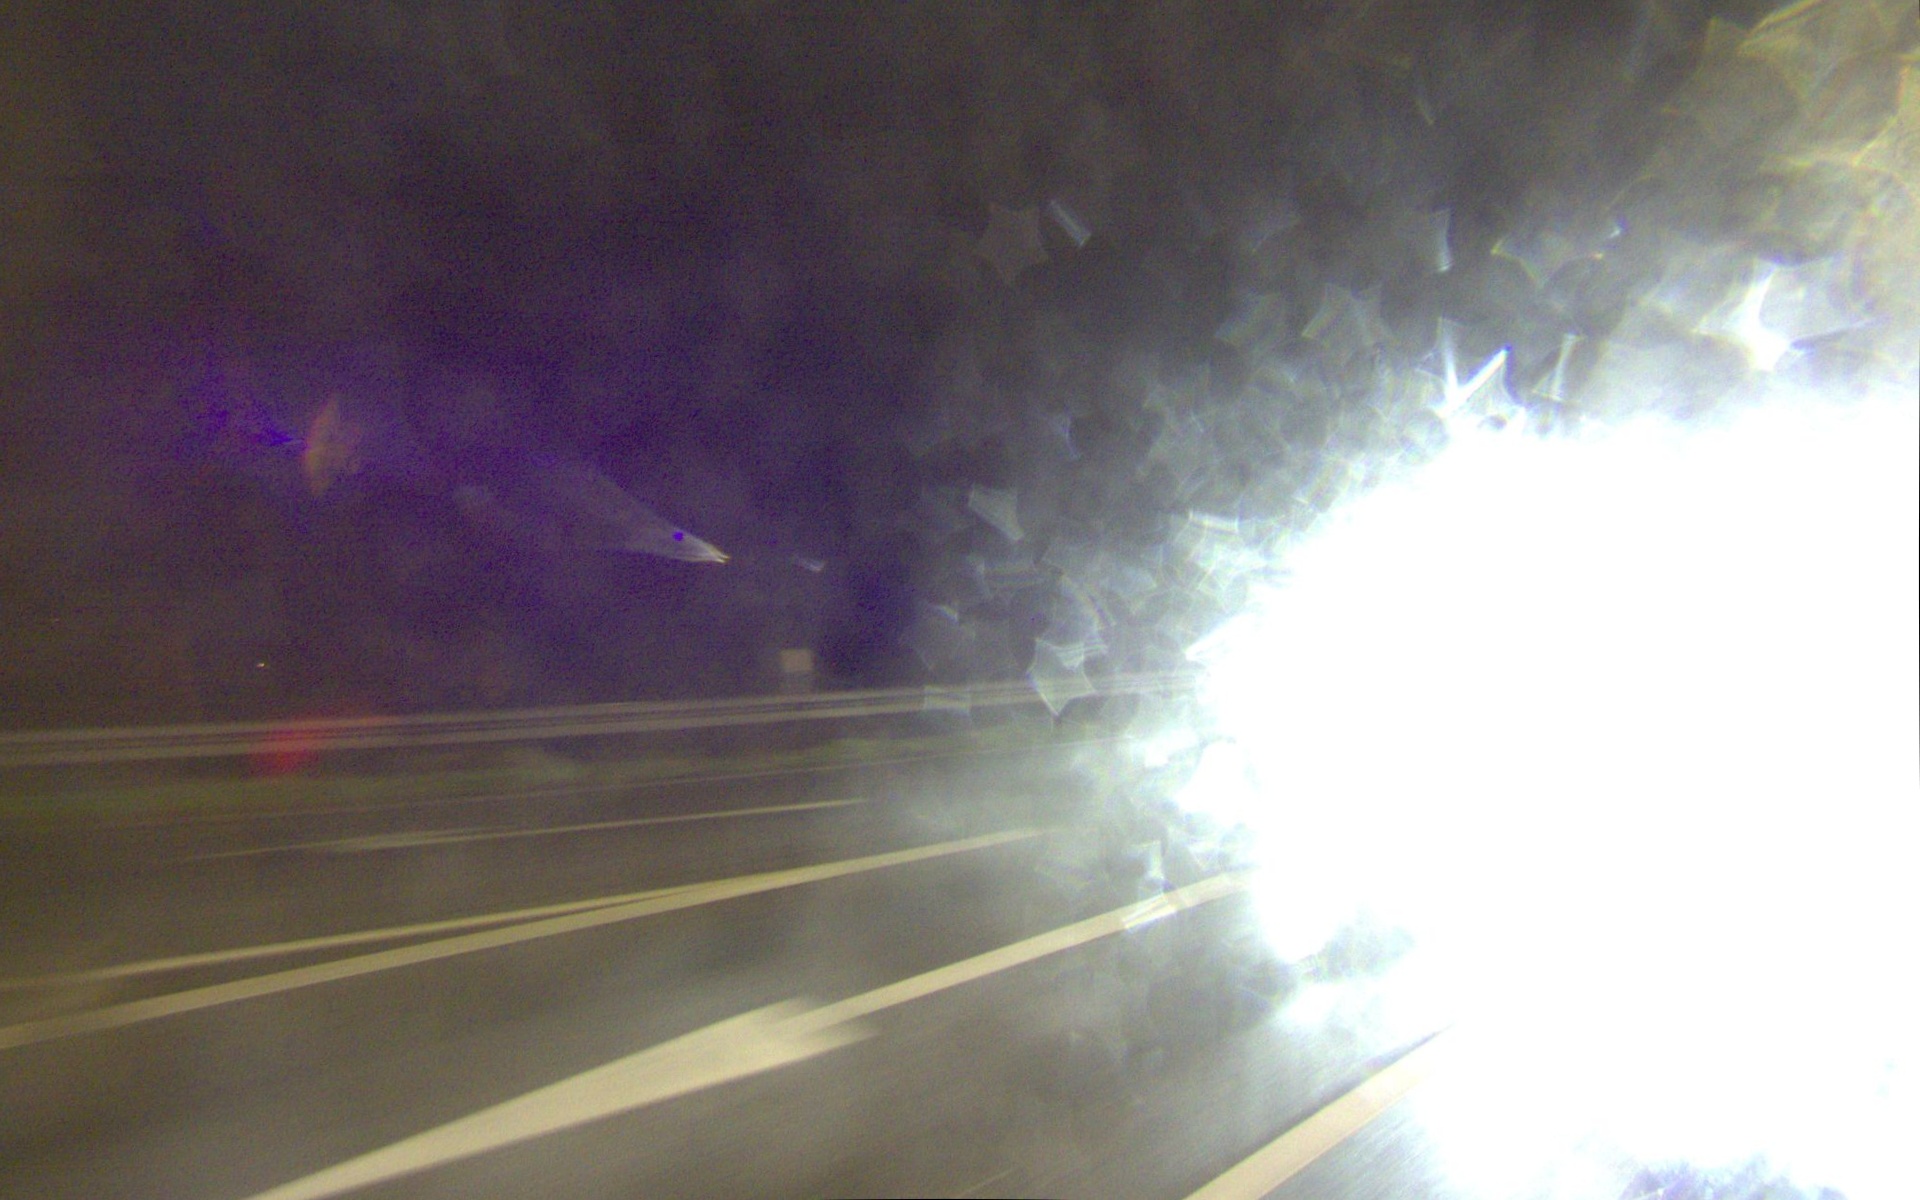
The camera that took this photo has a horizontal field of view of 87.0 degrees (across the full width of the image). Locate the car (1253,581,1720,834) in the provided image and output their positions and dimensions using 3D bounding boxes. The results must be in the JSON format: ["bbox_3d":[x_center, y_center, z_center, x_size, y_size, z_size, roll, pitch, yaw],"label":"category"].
[{"bbox_3d":[4.436,0.690,8.201,4.477,1.526,1.676,0,-3,-39],"label":"car"}]

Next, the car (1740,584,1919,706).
[{"bbox_3d":[13.538,0.573,15.075,4.330,1.541,1.712,-2,-1,-34],"label":"car"}]
